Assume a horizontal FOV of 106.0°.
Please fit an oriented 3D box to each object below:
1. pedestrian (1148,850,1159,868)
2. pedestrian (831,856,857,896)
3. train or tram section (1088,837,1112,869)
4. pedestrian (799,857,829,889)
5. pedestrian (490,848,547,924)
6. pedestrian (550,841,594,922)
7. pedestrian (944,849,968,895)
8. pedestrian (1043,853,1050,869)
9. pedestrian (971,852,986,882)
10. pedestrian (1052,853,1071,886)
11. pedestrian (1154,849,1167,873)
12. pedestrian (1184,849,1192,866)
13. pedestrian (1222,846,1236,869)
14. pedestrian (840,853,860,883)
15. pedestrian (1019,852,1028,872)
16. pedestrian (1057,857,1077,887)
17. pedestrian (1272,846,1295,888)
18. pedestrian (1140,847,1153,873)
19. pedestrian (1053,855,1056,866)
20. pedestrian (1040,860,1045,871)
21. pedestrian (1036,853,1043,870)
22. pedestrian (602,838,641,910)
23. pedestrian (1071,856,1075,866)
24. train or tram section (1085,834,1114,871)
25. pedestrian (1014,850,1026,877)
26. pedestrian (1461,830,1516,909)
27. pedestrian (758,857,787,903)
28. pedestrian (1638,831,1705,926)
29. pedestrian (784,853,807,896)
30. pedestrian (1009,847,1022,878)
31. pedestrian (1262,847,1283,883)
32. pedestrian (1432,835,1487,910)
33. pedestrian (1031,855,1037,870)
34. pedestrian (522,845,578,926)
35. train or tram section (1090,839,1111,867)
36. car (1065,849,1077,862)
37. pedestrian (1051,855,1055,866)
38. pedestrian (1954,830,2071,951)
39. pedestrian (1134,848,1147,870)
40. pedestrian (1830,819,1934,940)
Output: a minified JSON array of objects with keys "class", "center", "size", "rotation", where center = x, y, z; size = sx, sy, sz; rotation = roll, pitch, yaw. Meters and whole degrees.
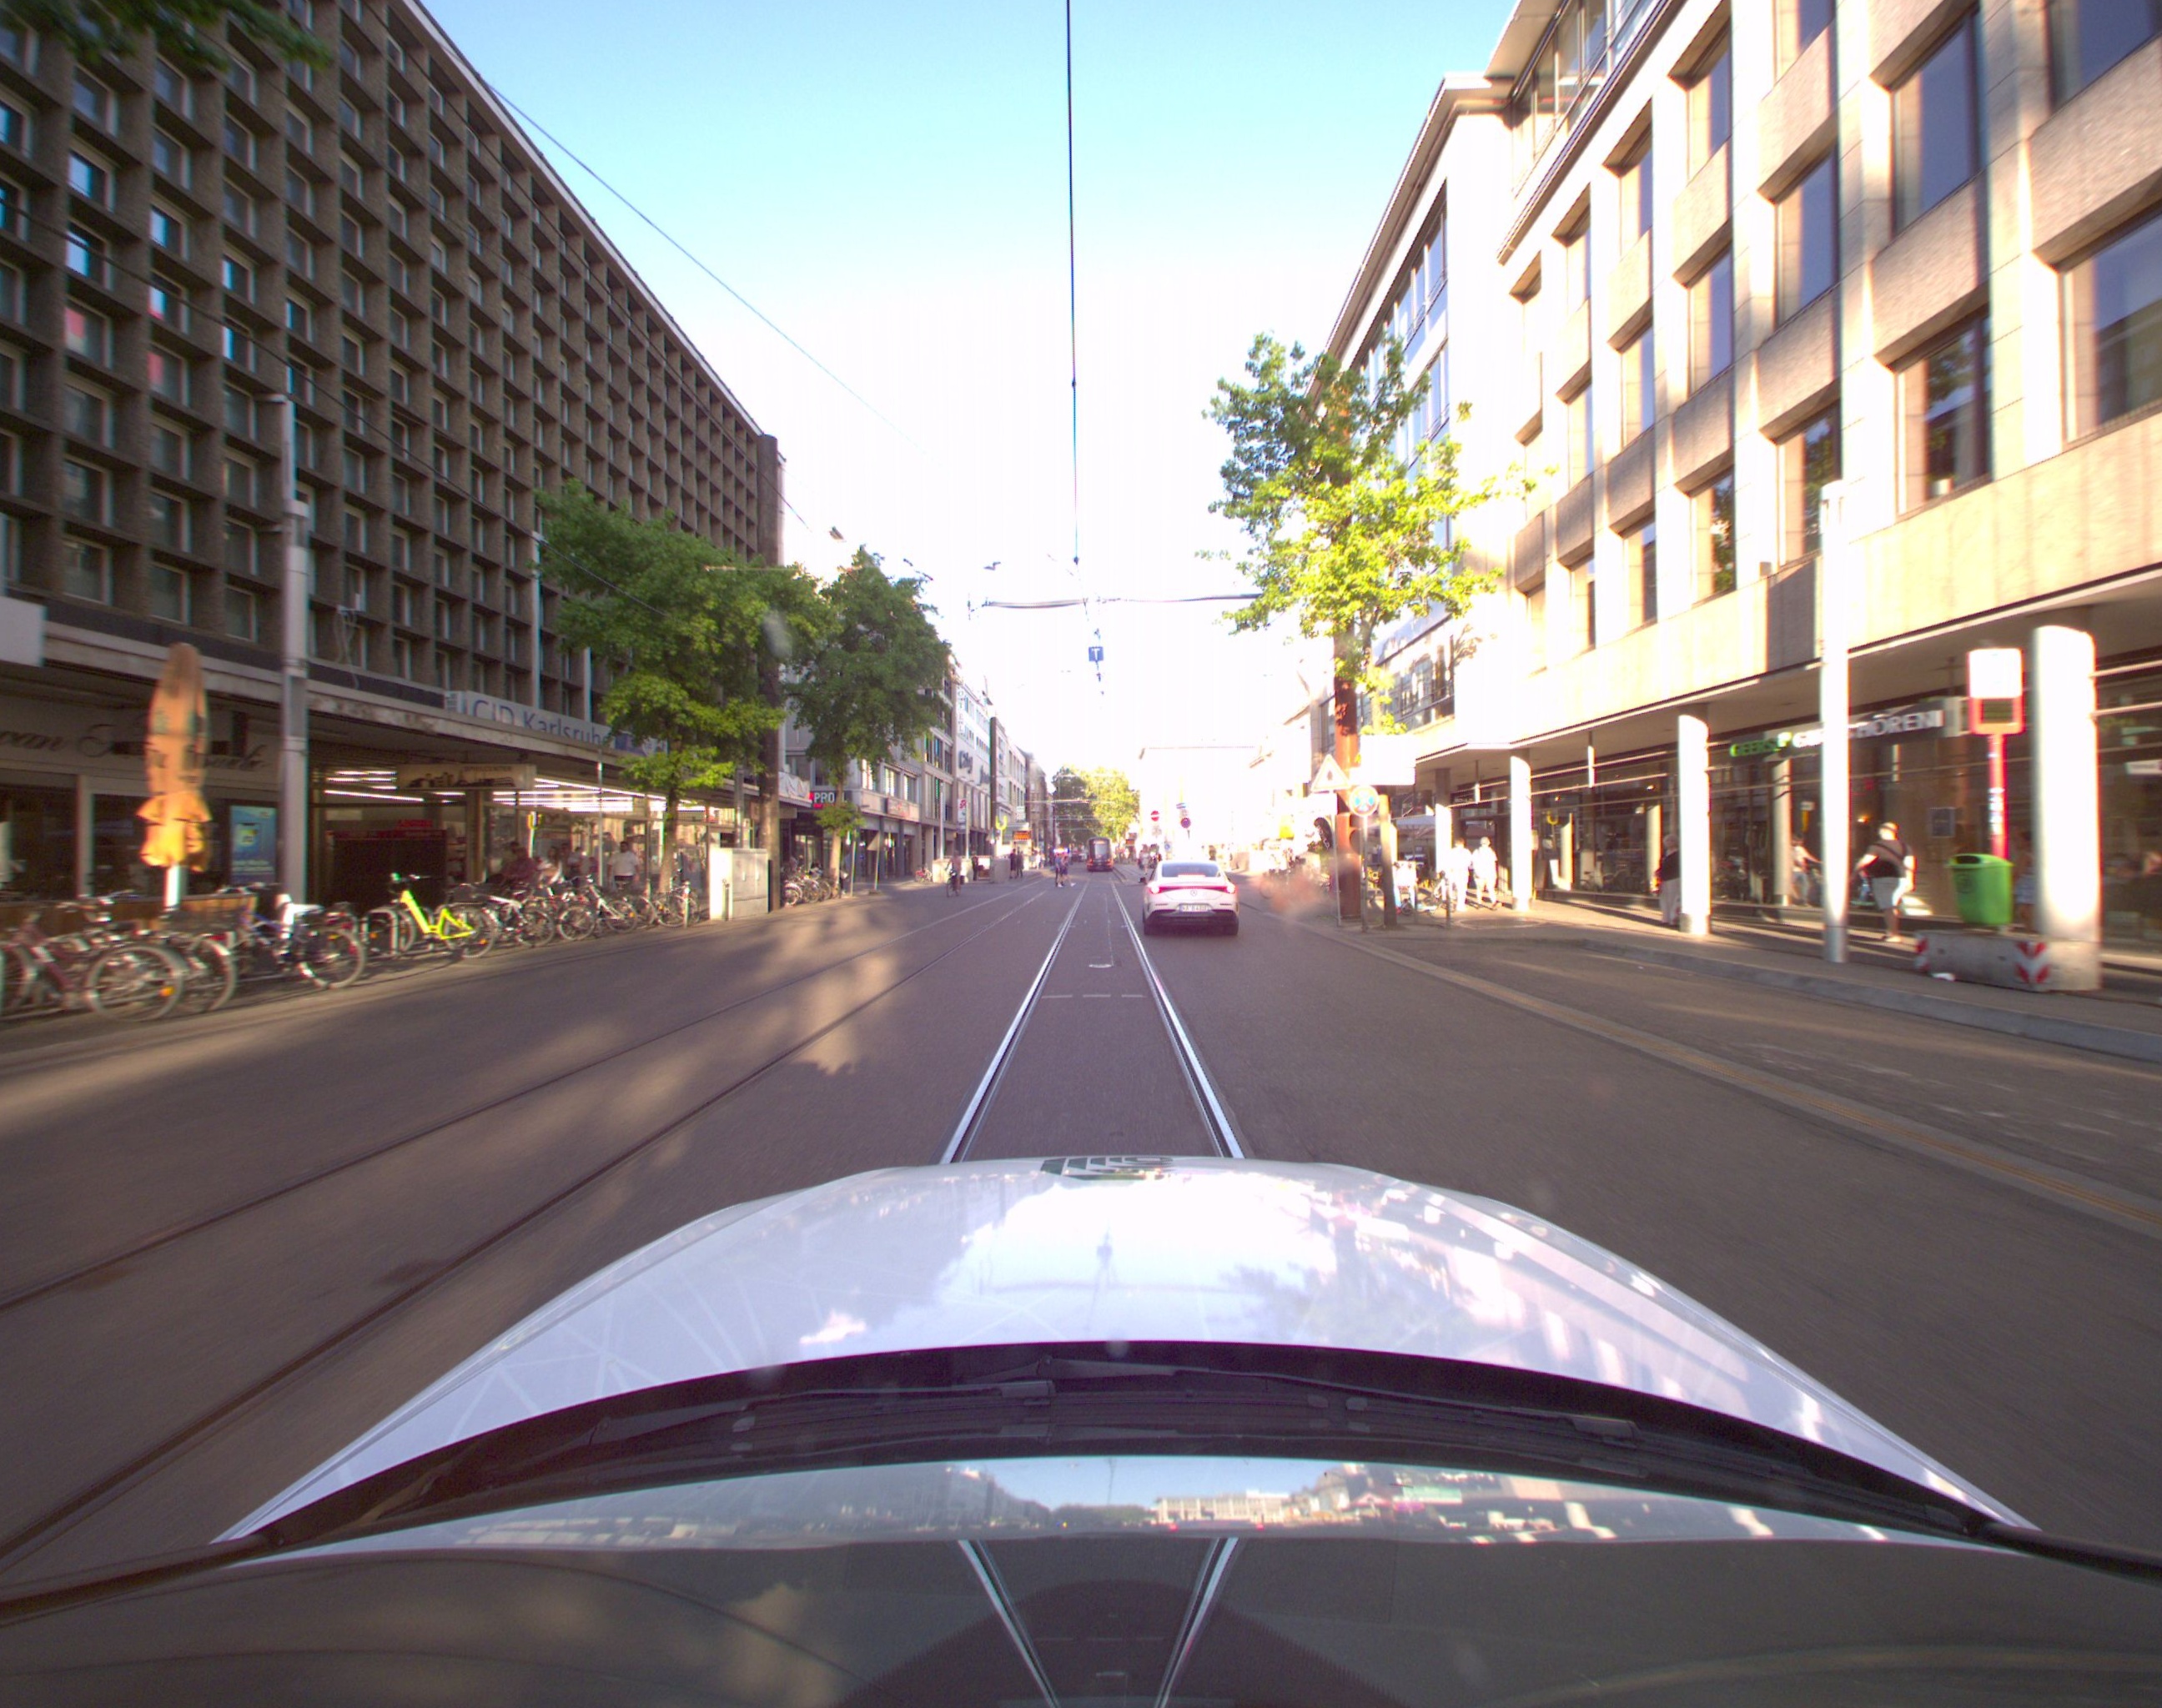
[{"class":"pedestrian","center":[7.242,0.514,81.753],"size":[0.957,1.785,0.804],"rotation":[-2,0,1]},{"class":"pedestrian","center":[-9.711,0.880,33.372],"size":[0.747,1.623,0.980],"rotation":[-1,0,-1]},{"class":"train or tram section","center":[2.291,-0.133,97.866],"size":[2.685,3.516,12.548],"rotation":[-1,0,1]},{"class":"pedestrian","center":[-13.172,0.933,40.180],"size":[0.968,1.562,1.020],"rotation":[-1,0,40]},{"class":"pedestrian","center":[-11.788,0.661,17.072],"size":[0.713,1.547,0.683],"rotation":[-1,0,-5]},{"class":"pedestrian","center":[-11.401,0.598,18.245],"size":[0.717,1.766,0.679],"rotation":[-1,0,-23]},{"class":"pedestrian","center":[-4.891,0.704,31.883],"size":[0.797,1.782,0.849],"rotation":[1,0,0]},{"class":"pedestrian","center":[-3.413,0.726,80.868],"size":[0.658,1.599,0.573],"rotation":[-1,0,0]},{"class":"pedestrian","center":[-6.130,0.774,48.556],"size":[0.780,1.717,0.840],"rotation":[-1,0,-1]},{"class":"pedestrian","center":[-1.011,0.791,42.214],"size":[0.901,1.698,0.849],"rotation":[-1,0,2]},{"class":"pedestrian","center":[5.509,0.480,56.256],"size":[0.834,1.662,0.786],"rotation":[-1,0,3]},{"class":"pedestrian","center":[11.111,0.356,84.683],"size":[0.724,1.785,0.708],"rotation":[-1,0,1]},{"class":"pedestrian","center":[11.139,0.275,61.385],"size":[0.815,1.685,0.804],"rotation":[-2,0,1]},{"class":"pedestrian","center":[-13.434,0.812,47.394],"size":[0.819,1.706,0.980],"rotation":[-1,0,-1]},{"class":"pedestrian","center":[-4.340,0.593,61.071],"size":[0.613,1.545,0.650],"rotation":[-1,0,-1]},{"class":"pedestrian","center":[-0.703,0.899,41.522],"size":[0.952,1.496,0.944],"rotation":[-1,0,2]},{"class":"pedestrian","center":[8.873,0.559,35.697],"size":[0.746,1.785,0.767],"rotation":[-2,0,1]},{"class":"pedestrian","center":[4.292,0.391,53.563],"size":[0.744,1.698,0.840],"rotation":[-1,0,-1]},{"class":"pedestrian","center":[-3.711,0.912,113.866],"size":[0.412,1.630,0.606],"rotation":[-1,0,2]},{"class":"pedestrian","center":[-5.956,1.759,125.669],"size":[0.605,1.630,0.413],"rotation":[-1,0,-15]},{"class":"pedestrian","center":[-4.146,0.730,80.800],"size":[0.658,1.599,0.573],"rotation":[-1,0,0]},{"class":"pedestrian","center":[-11.469,0.494,20.346],"size":[0.789,1.766,0.533],"rotation":[-1,0,-23]},{"class":"pedestrian","center":[-1.323,1.059,128.117],"size":[0.602,1.630,0.531],"rotation":[-1,0,1]},{"class":"train or tram section","center":[1.954,-0.137,85.313],"size":[2.685,3.516,12.548],"rotation":[-1,0,1]},{"class":"pedestrian","center":[-3.922,0.626,52.647],"size":[0.544,1.760,0.524],"rotation":[-1,0,29]},{"class":"pedestrian","center":[9.866,0.369,19.736],"size":[0.698,1.812,1.033],"rotation":[-4,0,1]},{"class":"pedestrian","center":[-12.162,1.006,32.107],"size":[0.813,1.761,0.779],"rotation":[-1,0,-1]},{"class":"pedestrian","center":[10.590,0.426,14.623],"size":[0.634,1.653,0.781],"rotation":[-1,0,2]},{"class":"pedestrian","center":[-11.872,0.844,33.863],"size":[0.728,1.761,0.810],"rotation":[-1,0,-34]},{"class":"pedestrian","center":[-4.184,0.553,51.728],"size":[0.534,1.929,0.576],"rotation":[-1,0,45]},{"class":"pedestrian","center":[9.851,0.568,42.002],"size":[0.838,1.785,0.804],"rotation":[-2,0,1]},{"class":"pedestrian","center":[9.258,0.452,19.939],"size":[0.896,1.744,0.690],"rotation":[-4,0,0]},{"class":"pedestrian","center":[-5.264,0.936,91.147],"size":[0.658,1.599,0.573],"rotation":[-1,0,0]},{"class":"pedestrian","center":[-11.060,0.647,16.975],"size":[0.713,1.639,0.683],"rotation":[-1,0,-5]},{"class":"train or tram section","center":[2.603,-0.123,109.707],"size":[2.685,3.516,11.146],"rotation":[-1,0,1]},{"class":"car","center":[-1.899,0.318,154.636],"size":[1.902,2.461,5.277],"rotation":[-1,0,2]},{"class":"pedestrian","center":[-4.144,0.903,120.172],"size":[0.412,1.630,0.606],"rotation":[-1,0,2]},{"class":"pedestrian","center":[12.429,0.471,10.887],"size":[0.640,1.542,0.796],"rotation":[-1,0,2]},{"class":"pedestrian","center":[4.831,0.399,66.657],"size":[0.957,1.785,0.804],"rotation":[-2,0,1]},{"class":"pedestrian","center":[11.896,0.367,12.122],"size":[0.713,1.741,0.835],"rotation":[-1,0,1]}]
